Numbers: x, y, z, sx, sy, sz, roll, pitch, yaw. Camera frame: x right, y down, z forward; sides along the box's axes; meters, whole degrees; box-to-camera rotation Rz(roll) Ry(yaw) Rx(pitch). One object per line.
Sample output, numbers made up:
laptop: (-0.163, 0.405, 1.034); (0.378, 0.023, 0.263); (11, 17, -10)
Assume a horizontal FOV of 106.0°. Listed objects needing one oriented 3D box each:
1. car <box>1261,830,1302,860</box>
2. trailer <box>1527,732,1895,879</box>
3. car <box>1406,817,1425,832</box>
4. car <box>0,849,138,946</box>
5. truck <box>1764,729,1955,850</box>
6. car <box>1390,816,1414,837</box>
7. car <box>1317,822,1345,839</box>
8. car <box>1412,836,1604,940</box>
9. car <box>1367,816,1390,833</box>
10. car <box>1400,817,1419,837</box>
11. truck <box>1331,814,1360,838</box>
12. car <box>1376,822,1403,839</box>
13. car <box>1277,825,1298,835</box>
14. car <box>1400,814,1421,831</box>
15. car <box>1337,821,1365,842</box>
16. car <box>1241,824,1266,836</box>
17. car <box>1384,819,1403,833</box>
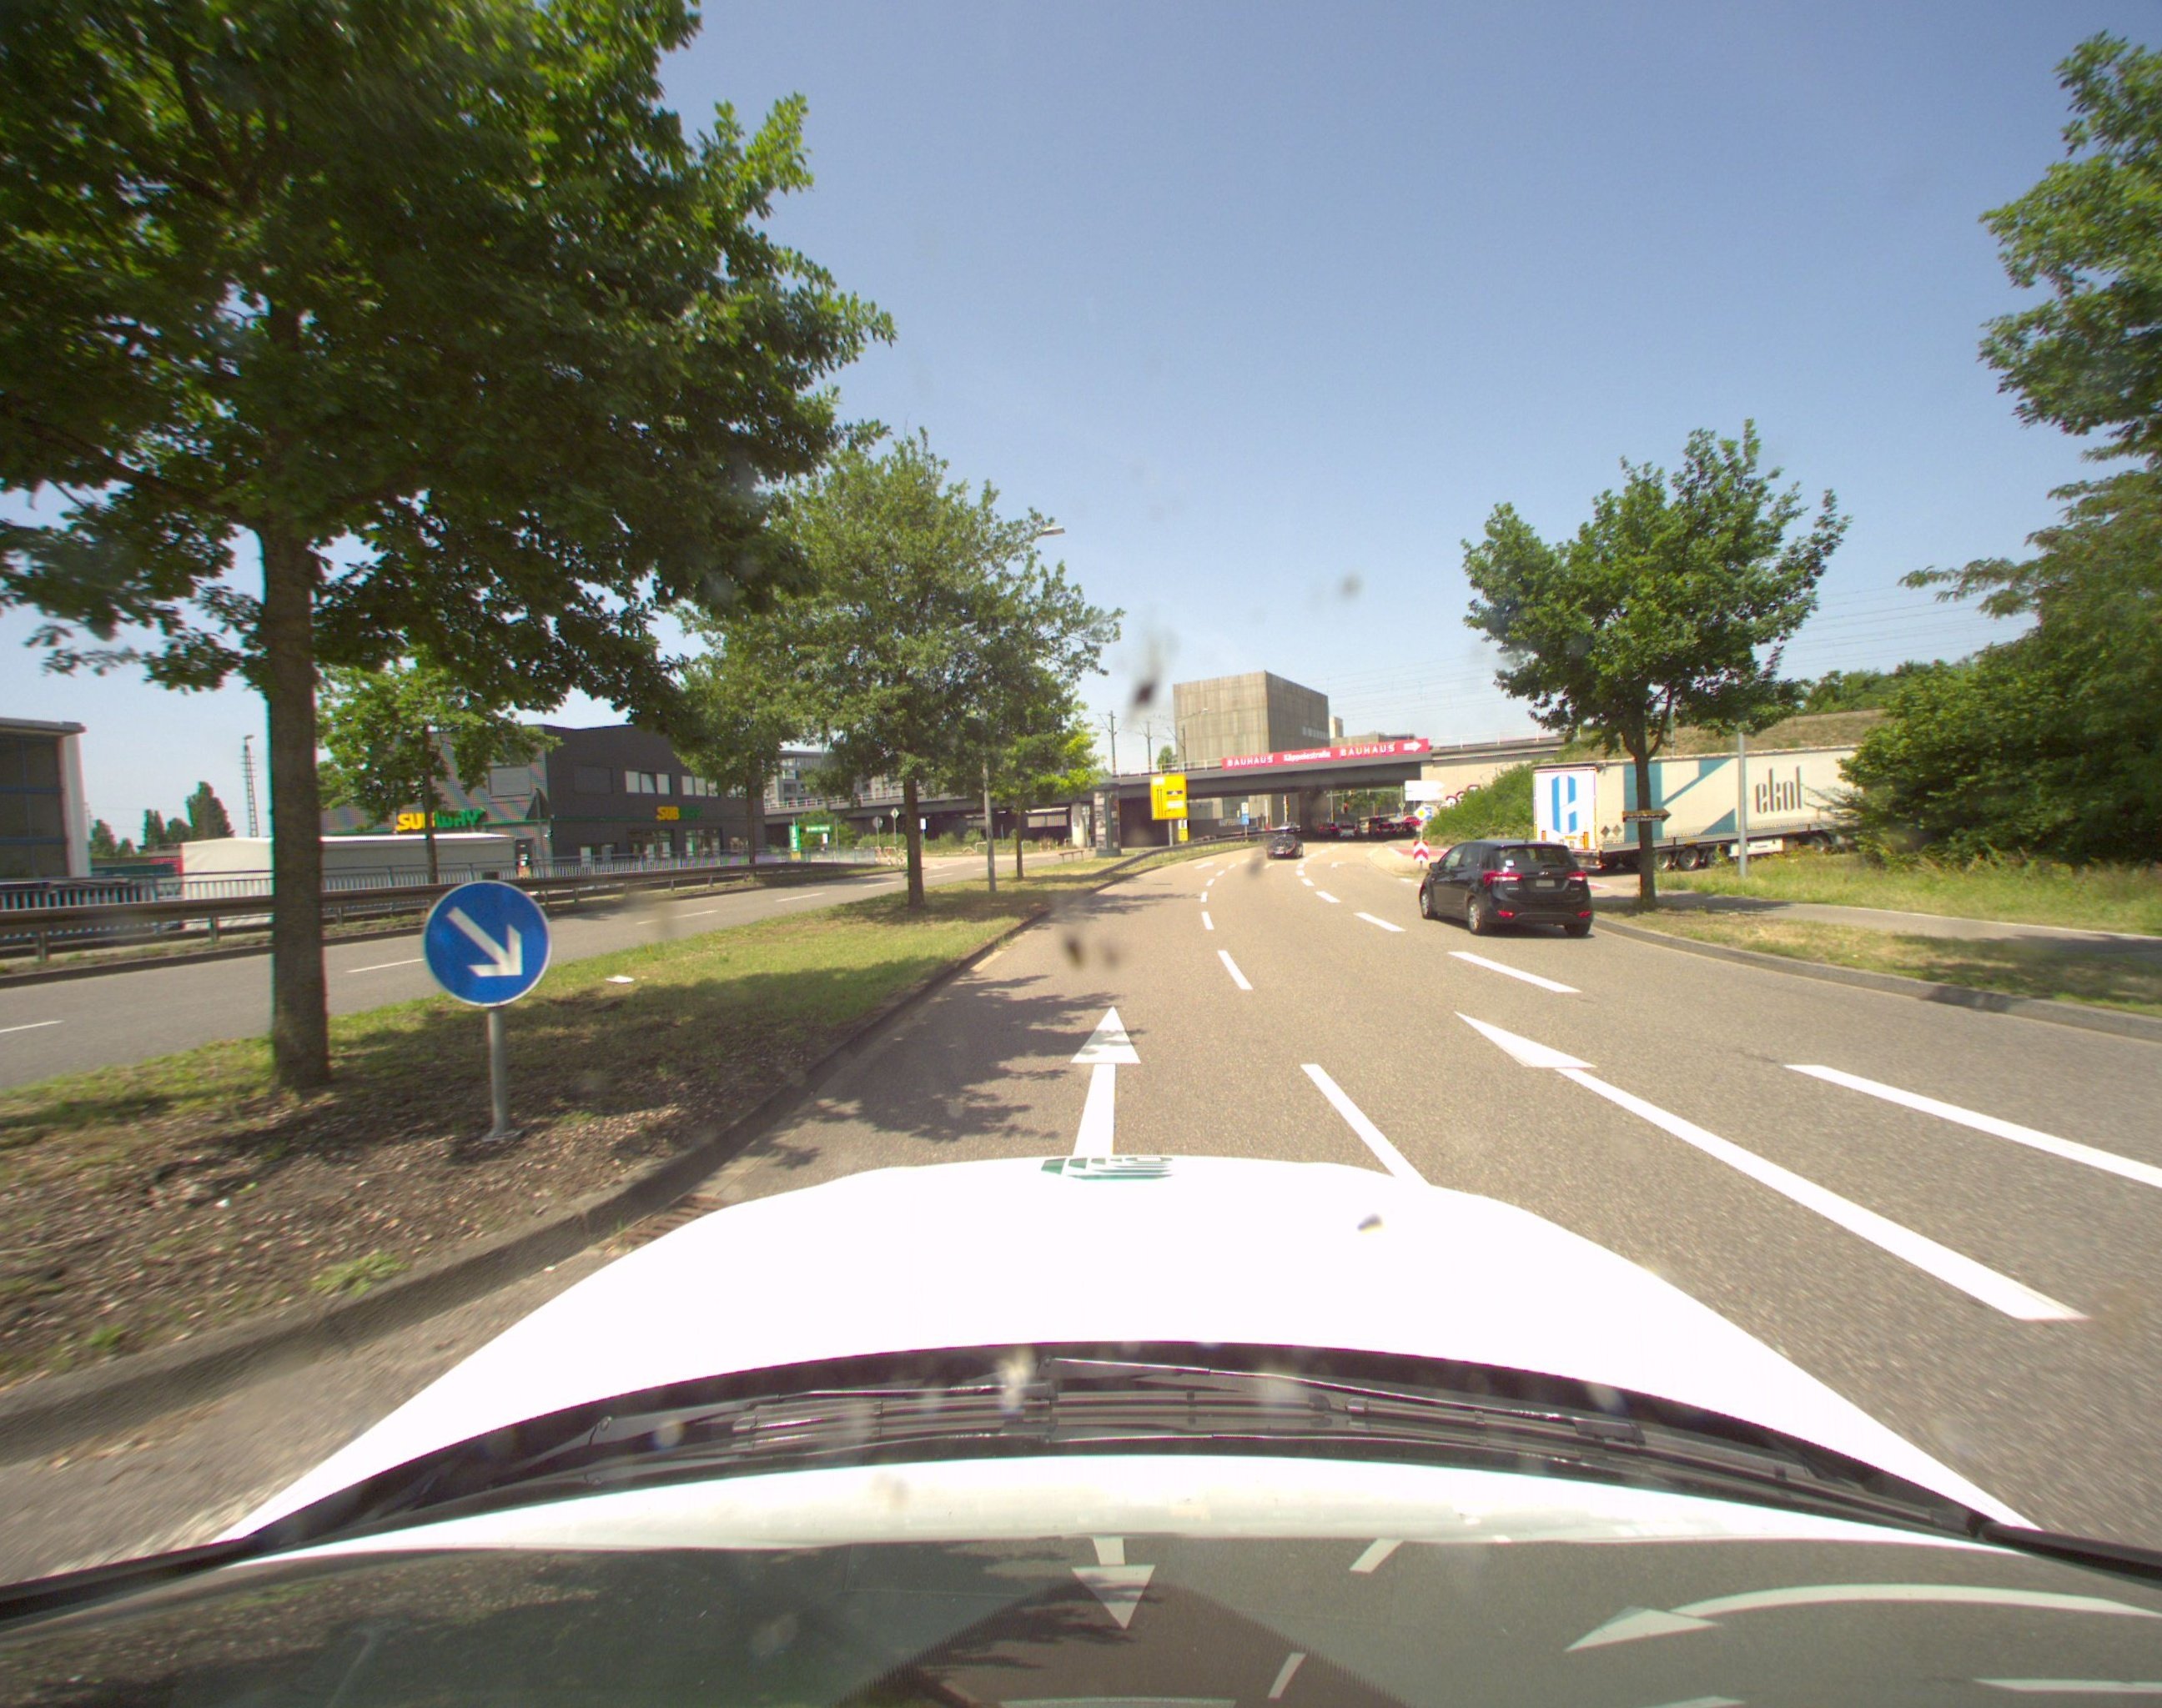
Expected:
car: (11.779, -0.559, 47.645); (1.941, 1.633, 4.301); (-1, 2, 18)
trailer: (23.548, -1.958, 30.137); (14.768, 4.367, 3.070); (-4, 4, -18)
car: (45.814, -4.020, 111.654); (1.975, 2.013, 4.025); (-1, 2, 28)
car: (-18.670, 0.789, 12.813); (1.887, 1.569, 4.649); (-4, 0, 7)
truck: (31.208, -2.607, 32.690); (6.076, 4.367, 3.068); (-4, 4, -18)
car: (32.478, -2.798, 82.263); (1.717, 2.013, 3.822); (-4, 0, 28)
car: (26.056, -2.460, 84.725); (1.922, 1.721, 4.025); (-1, 1, 29)
car: (7.444, 0.482, 14.672); (1.757, 1.599, 4.086); (-1, 1, 7)
car: (33.476, -3.335, 91.669); (1.823, 1.890, 4.025); (-1, 1, 28)
car: (35.109, -2.884, 87.047); (1.607, 2.013, 3.561); (-4, 0, 25)
truck: (29.667, -3.176, 91.337); (2.047, 2.537, 4.026); (-3, 1, 32)
car: (29.212, -2.230, 77.049); (1.823, 1.568, 4.025); (-1, 1, 28)
car: (31.149, -3.637, 122.823); (1.974, 1.441, 4.025); (-4, 0, 29)
car: (39.884, -3.825, 98.487); (1.823, 1.890, 4.025); (-1, 1, 28)
car: (26.289, -2.191, 79.168); (1.823, 1.890, 4.025); (-1, 1, 28)
car: (22.196, -3.063, 104.664); (1.638, 1.379, 4.245); (-1, 2, 35)
car: (44.667, -4.018, 116.289); (1.975, 2.013, 4.025); (-1, 2, 27)
